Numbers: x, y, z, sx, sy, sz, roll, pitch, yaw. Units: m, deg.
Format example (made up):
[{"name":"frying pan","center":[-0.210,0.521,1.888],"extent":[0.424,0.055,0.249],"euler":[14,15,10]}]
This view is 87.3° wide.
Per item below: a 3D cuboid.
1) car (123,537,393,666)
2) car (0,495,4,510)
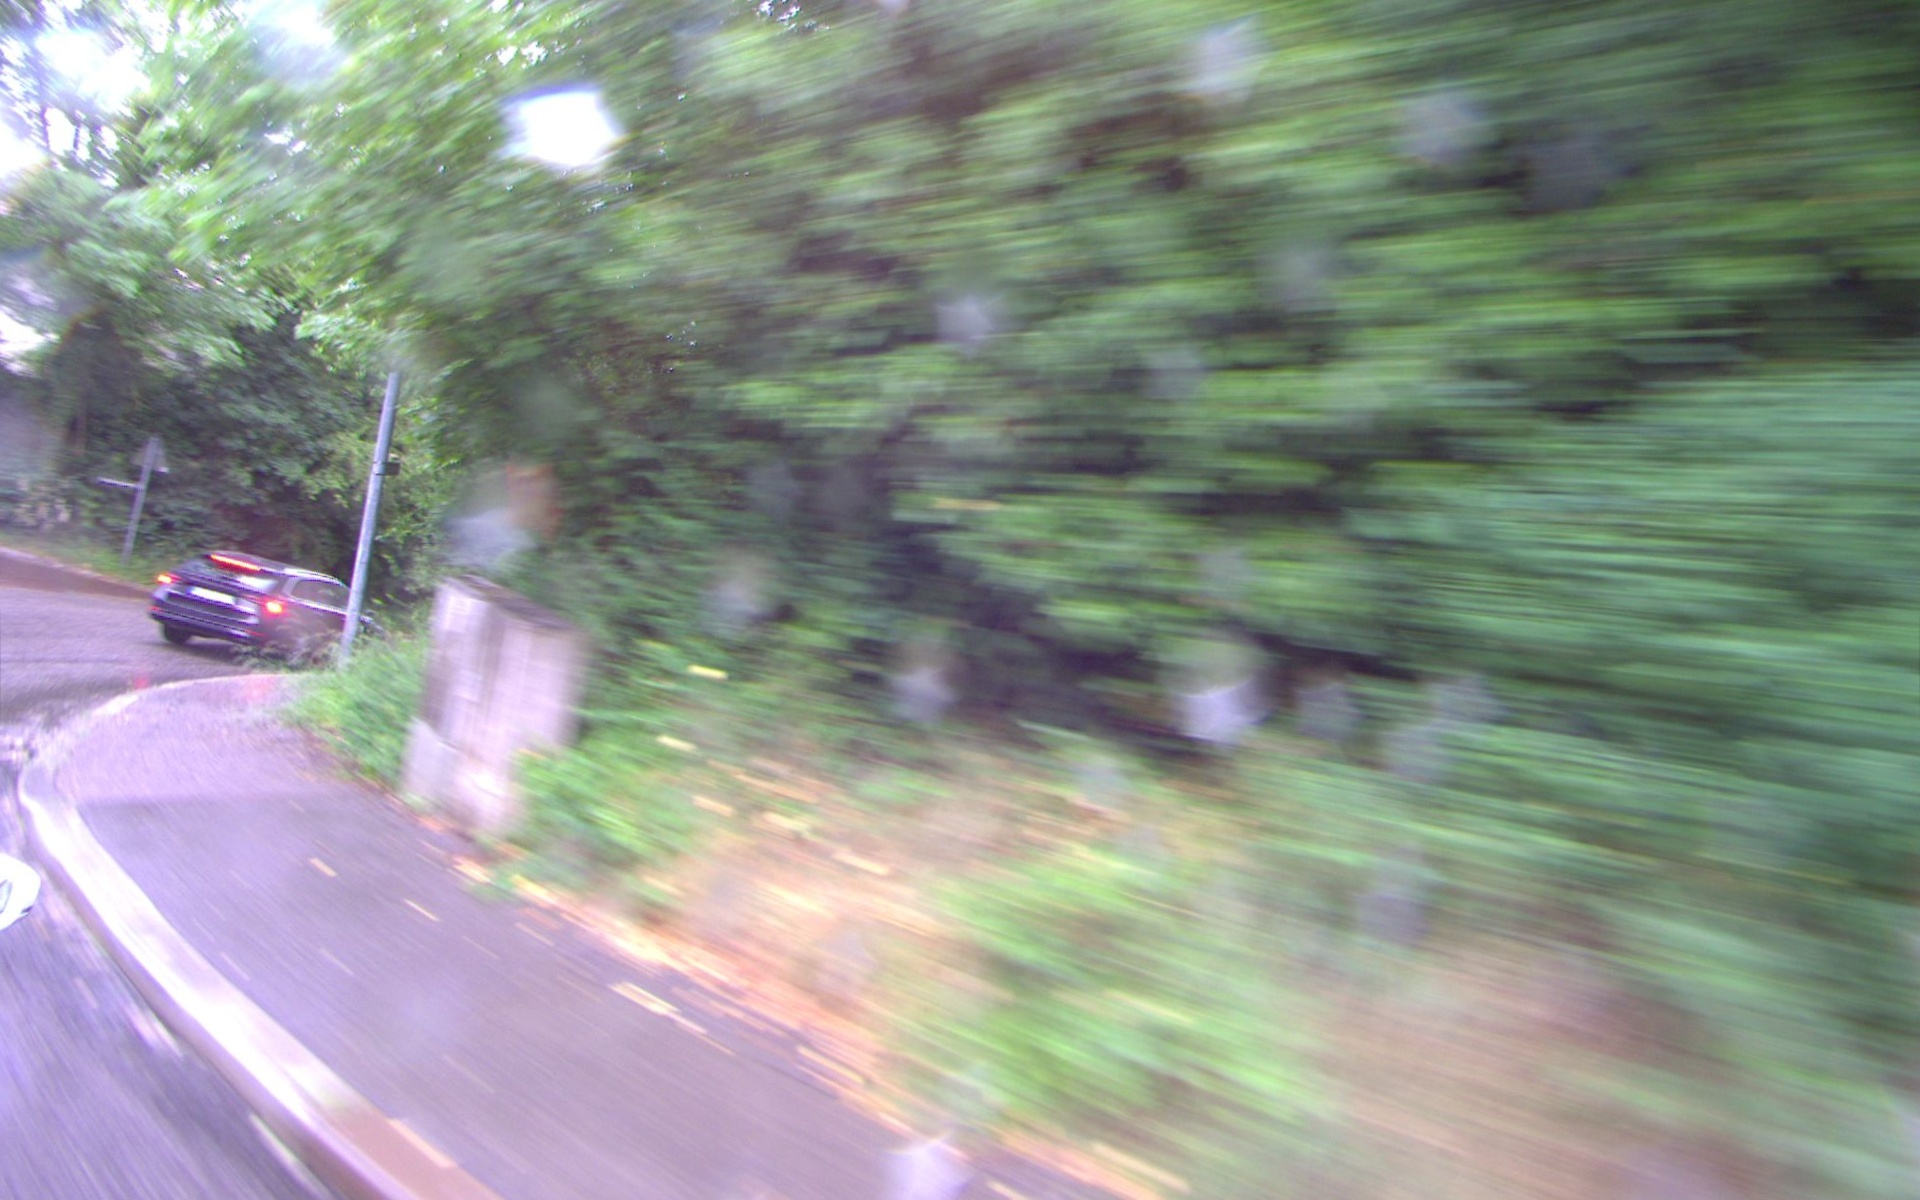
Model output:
[{"name":"car","center":[-10.599,0.049,15.597],"extent":[1.678,1.466,3.995],"euler":[10,-2,-9]},{"name":"car","center":[-12.370,-0.789,10.435],"extent":[1.656,1.551,4.109],"euler":[13,-5,-17]}]
